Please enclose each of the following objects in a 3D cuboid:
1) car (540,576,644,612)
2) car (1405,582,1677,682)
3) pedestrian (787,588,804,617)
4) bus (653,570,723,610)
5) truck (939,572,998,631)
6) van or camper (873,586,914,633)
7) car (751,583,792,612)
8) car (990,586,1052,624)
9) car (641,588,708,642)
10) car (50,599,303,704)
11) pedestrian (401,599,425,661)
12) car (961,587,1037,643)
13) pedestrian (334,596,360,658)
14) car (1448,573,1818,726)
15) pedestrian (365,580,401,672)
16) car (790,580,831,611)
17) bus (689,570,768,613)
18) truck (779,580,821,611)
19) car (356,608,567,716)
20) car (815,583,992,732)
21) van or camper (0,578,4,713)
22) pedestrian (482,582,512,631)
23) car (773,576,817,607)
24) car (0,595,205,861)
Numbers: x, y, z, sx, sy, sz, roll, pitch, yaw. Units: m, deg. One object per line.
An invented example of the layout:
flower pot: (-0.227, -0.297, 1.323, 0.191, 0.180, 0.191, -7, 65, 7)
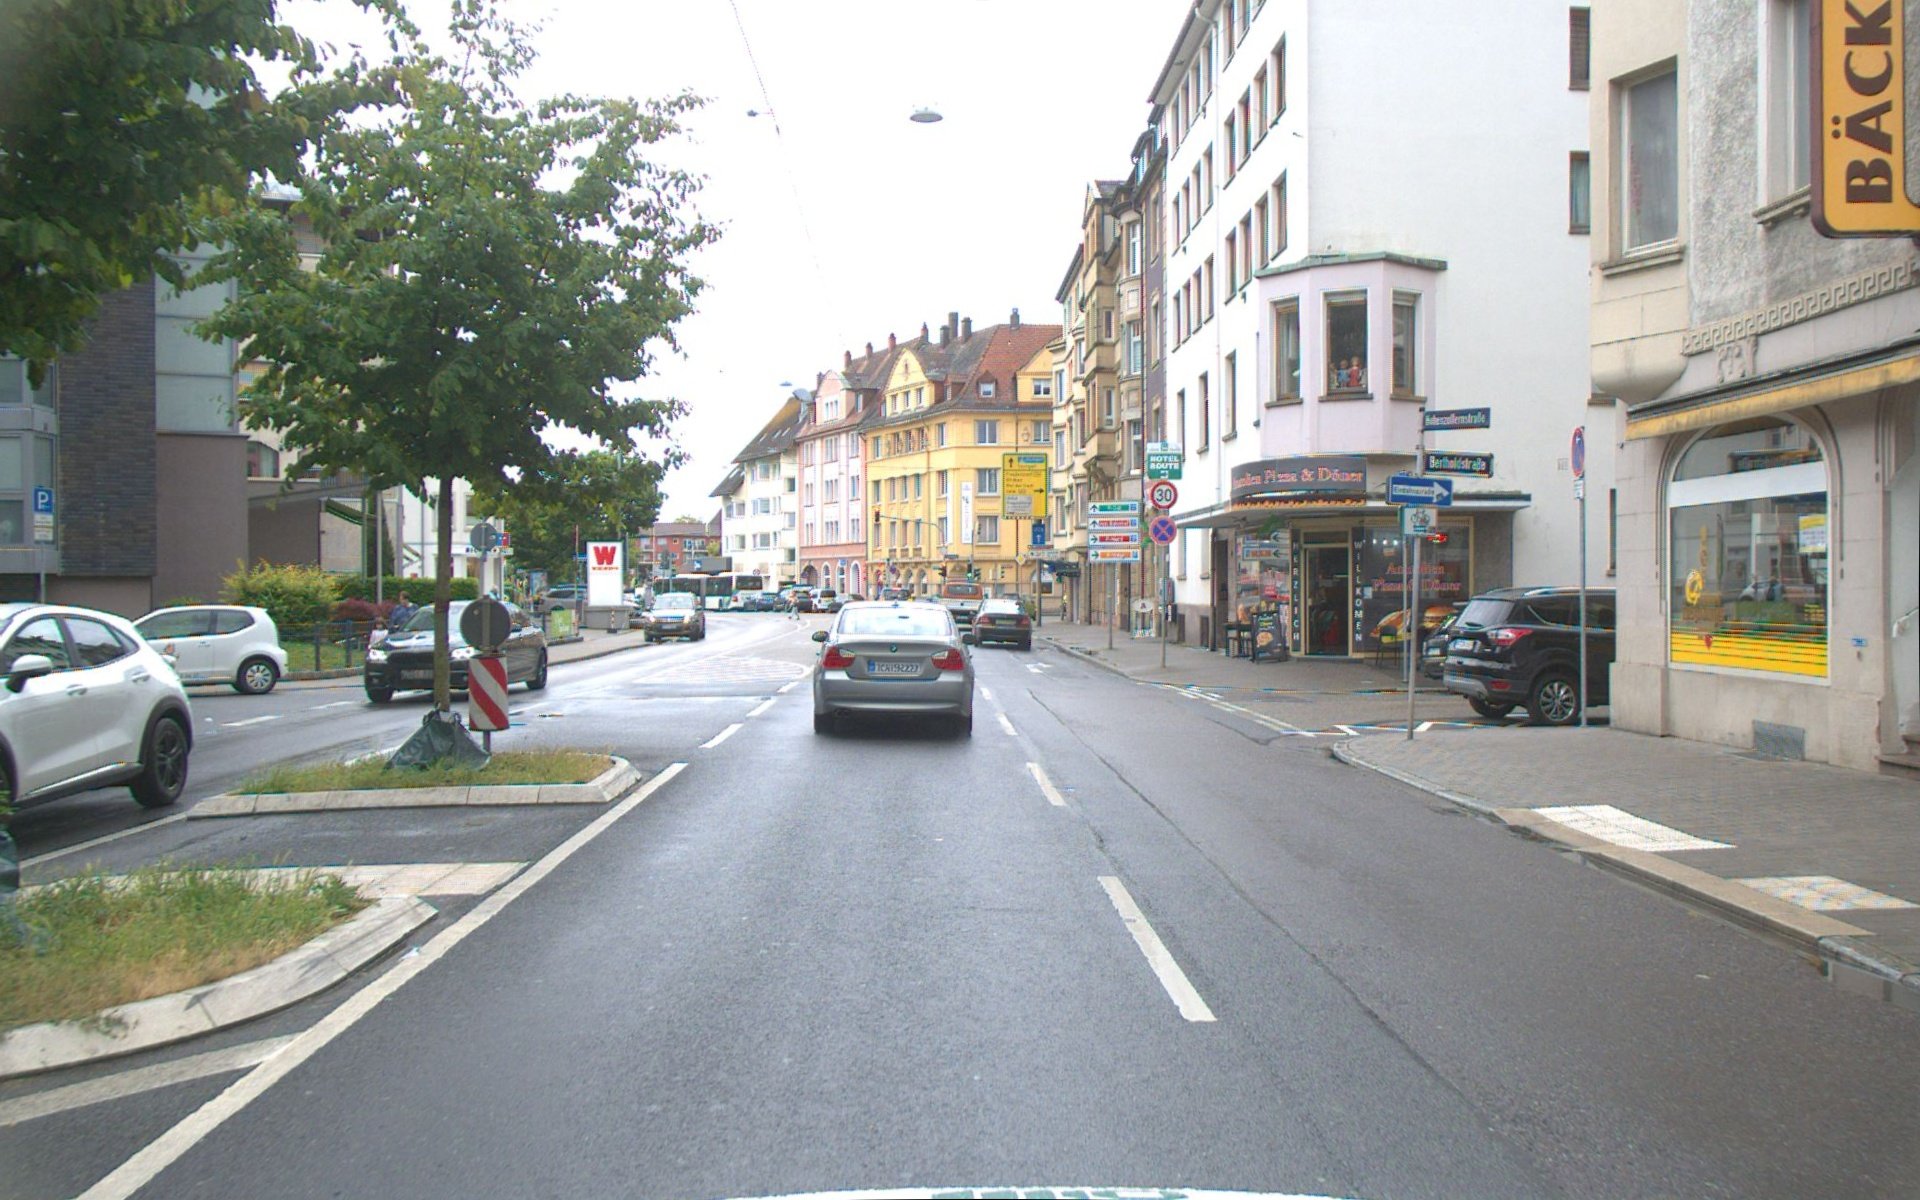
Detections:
car: (-16.497, -0.267, 74.401, 4.360, 1.553, 1.883, 1, 0, -7)
car: (9.908, 0.548, 28.370, 4.029, 1.635, 1.803, 0, -1, -8)
pedestrian: (-8.979, 0.120, 90.156, 0.750, 1.556, 0.505, 2, -1, -22)
bus: (-22.285, -0.801, 135.133, 2.877, 3.159, 8.784, -1, 1, -29)
truck: (0.316, 0.054, 67.773, 2.180, 2.289, 5.061, 1, 0, -2)
van or camper: (-3.206, 0.443, 78.909, 1.818, 2.184, 4.139, 0, 0, -4)
car: (-13.653, -0.194, 119.558, 1.966, 2.049, 3.972, 0, 0, -23)
car: (3.433, 0.273, 92.749, 1.955, 2.049, 3.995, 1, 0, 27)
car: (-10.001, 0.499, 57.677, 1.916, 1.688, 4.042, -3, 1, -14)
car: (-12.924, 0.807, 27.331, 3.547, 1.597, 1.720, 1, 0, -35)
pedestrian: (-10.727, 0.583, 32.445, 0.401, 1.219, 0.310, 0, 0, -8)
car: (1.117, 0.441, 49.144, 1.764, 1.590, 3.995, 0, -1, -6)
pedestrian: (-12.013, 0.526, 32.403, 0.401, 1.219, 0.358, 0, 0, -8)
car: (8.363, 0.575, 20.903, 4.049, 1.803, 1.875, 0, 0, 12)
pedestrian: (-11.347, 0.500, 32.526, 0.563, 1.793, 0.580, 0, 0, -8)
car: (-11.562, -0.357, 127.641, 1.741, 2.218, 3.965, 3, 0, -27)
bus: (-17.860, -0.689, 127.288, 2.878, 3.159, 9.051, -1, 1, -30)
truck: (-12.944, -0.395, 133.468, 2.002, 2.431, 4.200, 1, 0, -27)
car: (-7.514, 0.875, 25.412, 1.973, 1.450, 4.498, 0, 0, -2)
car: (-0.672, 0.612, 18.905, 1.763, 1.490, 4.368, 1, -1, -3)
van or camper: (-17.126, 0.663, 24.700, 4.902, 2.049, 1.979, 1, 0, -31)
pedestrian: (-16.486, 0.235, 58.939, 0.741, 1.715, 0.743, 0, 0, 44)
car: (-11.399, -0.590, 113.821, 1.966, 2.049, 3.972, 0, 0, -22)
car: (-6.766, 0.810, 10.937, 1.783, 1.596, 4.087, -2, 1, -3)
